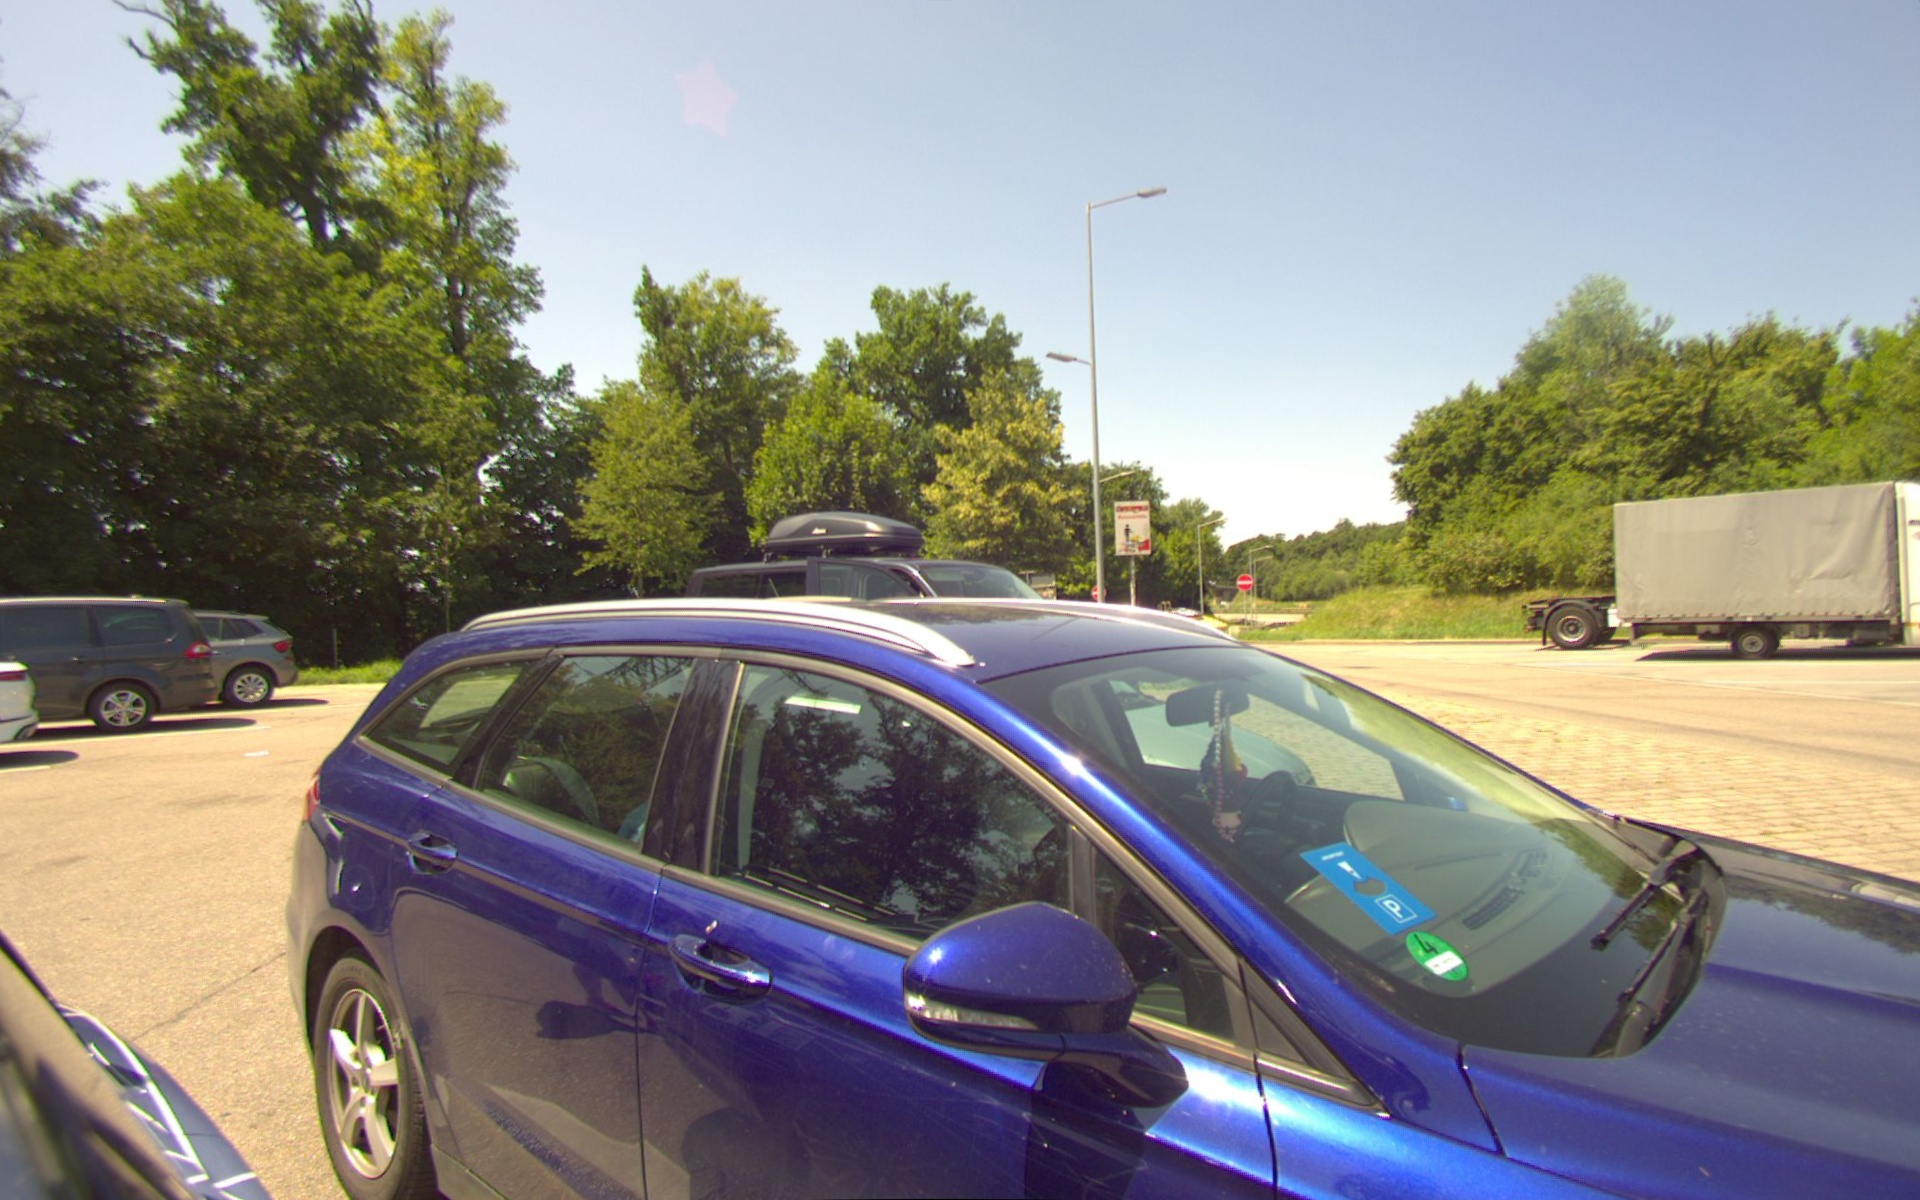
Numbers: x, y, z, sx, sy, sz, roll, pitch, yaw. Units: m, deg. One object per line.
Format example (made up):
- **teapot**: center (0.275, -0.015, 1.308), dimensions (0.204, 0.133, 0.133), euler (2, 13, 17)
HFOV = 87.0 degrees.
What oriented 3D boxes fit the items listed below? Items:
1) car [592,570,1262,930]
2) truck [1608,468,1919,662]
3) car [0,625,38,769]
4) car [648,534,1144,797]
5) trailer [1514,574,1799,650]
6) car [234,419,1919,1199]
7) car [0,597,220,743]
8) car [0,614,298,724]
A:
- **car**: center (-0.391, 0.649, 5.832), dimensions (3.739, 1.424, 1.587), euler (-2, -1, 40)
- **truck**: center (16.686, -0.622, 18.867), dimensions (7.308, 3.258, 2.294), euler (-5, -2, 43)
- **car**: center (-10.986, 0.943, 9.226), dimensions (3.753, 1.377, 1.804), euler (0, -1, -45)
- **car**: center (-0.758, 0.533, 9.443), dimensions (4.427, 1.875, 2.022), euler (-2, -1, 40)
- **trailer**: center (16.308, 0.342, 23.940), dimensions (5.393, 1.608, 1.576), euler (-2, -1, 41)
- **car**: center (0.212, 0.650, 2.110), dimensions (4.427, 1.455, 1.763), euler (-2, -1, 40)
- **car**: center (-11.739, 0.835, 12.615), dimensions (3.830, 1.703, 1.883), euler (0, -2, -45)
- **car**: center (-12.620, 0.971, 15.641), dimensions (3.753, 1.488, 1.743), euler (0, -1, -45)
